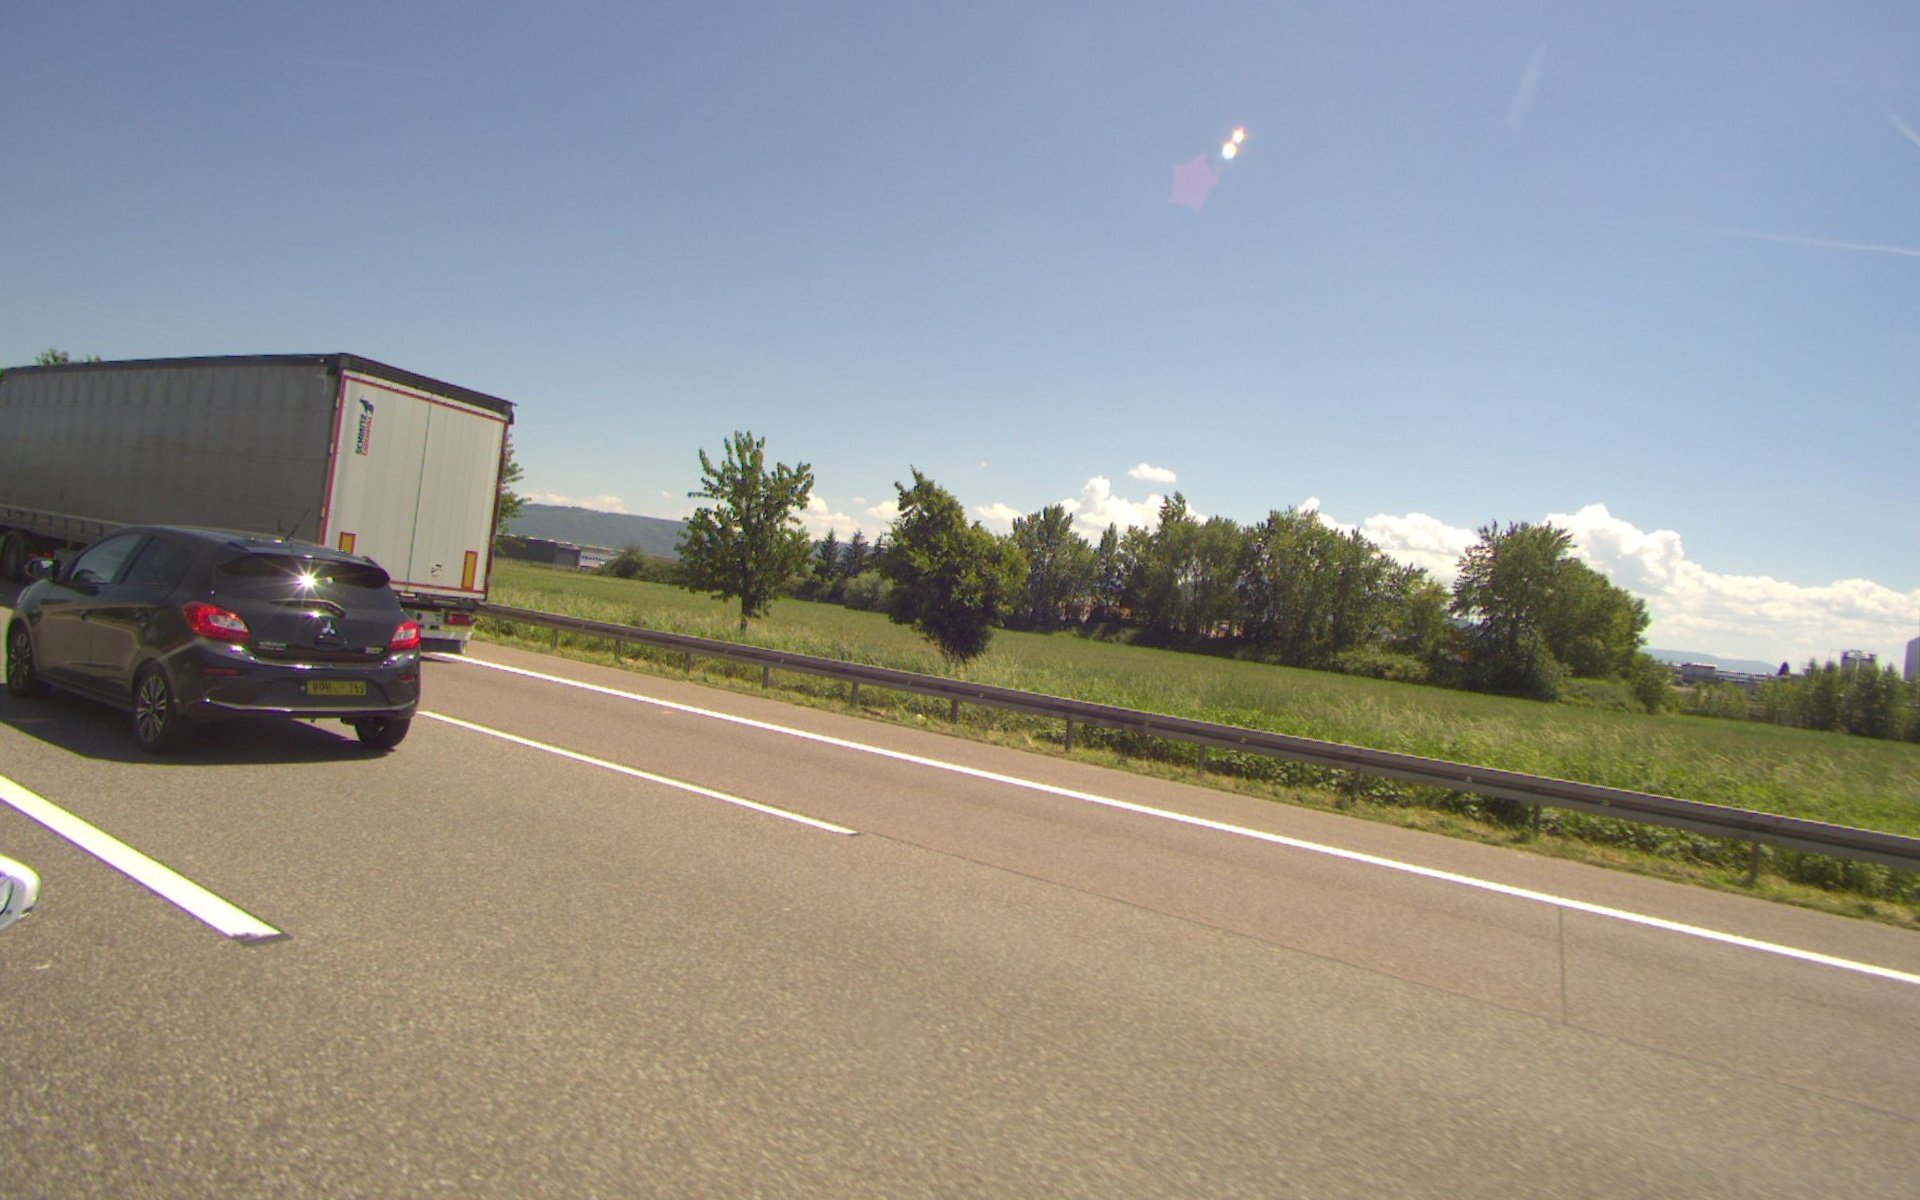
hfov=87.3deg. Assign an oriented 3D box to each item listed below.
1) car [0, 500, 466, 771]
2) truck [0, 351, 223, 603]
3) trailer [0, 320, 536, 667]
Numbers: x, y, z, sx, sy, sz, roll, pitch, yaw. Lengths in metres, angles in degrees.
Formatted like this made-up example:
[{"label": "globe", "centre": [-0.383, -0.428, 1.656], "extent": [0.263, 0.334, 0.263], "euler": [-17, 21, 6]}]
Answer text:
[{"label": "car", "centre": [-5.626, 0.210, 7.615], "extent": [3.375, 1.490, 1.691], "euler": [6, -2, 31]}, {"label": "truck", "centre": [-19.236, -2.577, 21.450], "extent": [7.074, 4.354, 2.815], "euler": [6, -2, 32]}, {"label": "trailer", "centre": [-13.383, -1.939, 17.795], "extent": [14.018, 4.354, 2.815], "euler": [6, -2, 32]}]
